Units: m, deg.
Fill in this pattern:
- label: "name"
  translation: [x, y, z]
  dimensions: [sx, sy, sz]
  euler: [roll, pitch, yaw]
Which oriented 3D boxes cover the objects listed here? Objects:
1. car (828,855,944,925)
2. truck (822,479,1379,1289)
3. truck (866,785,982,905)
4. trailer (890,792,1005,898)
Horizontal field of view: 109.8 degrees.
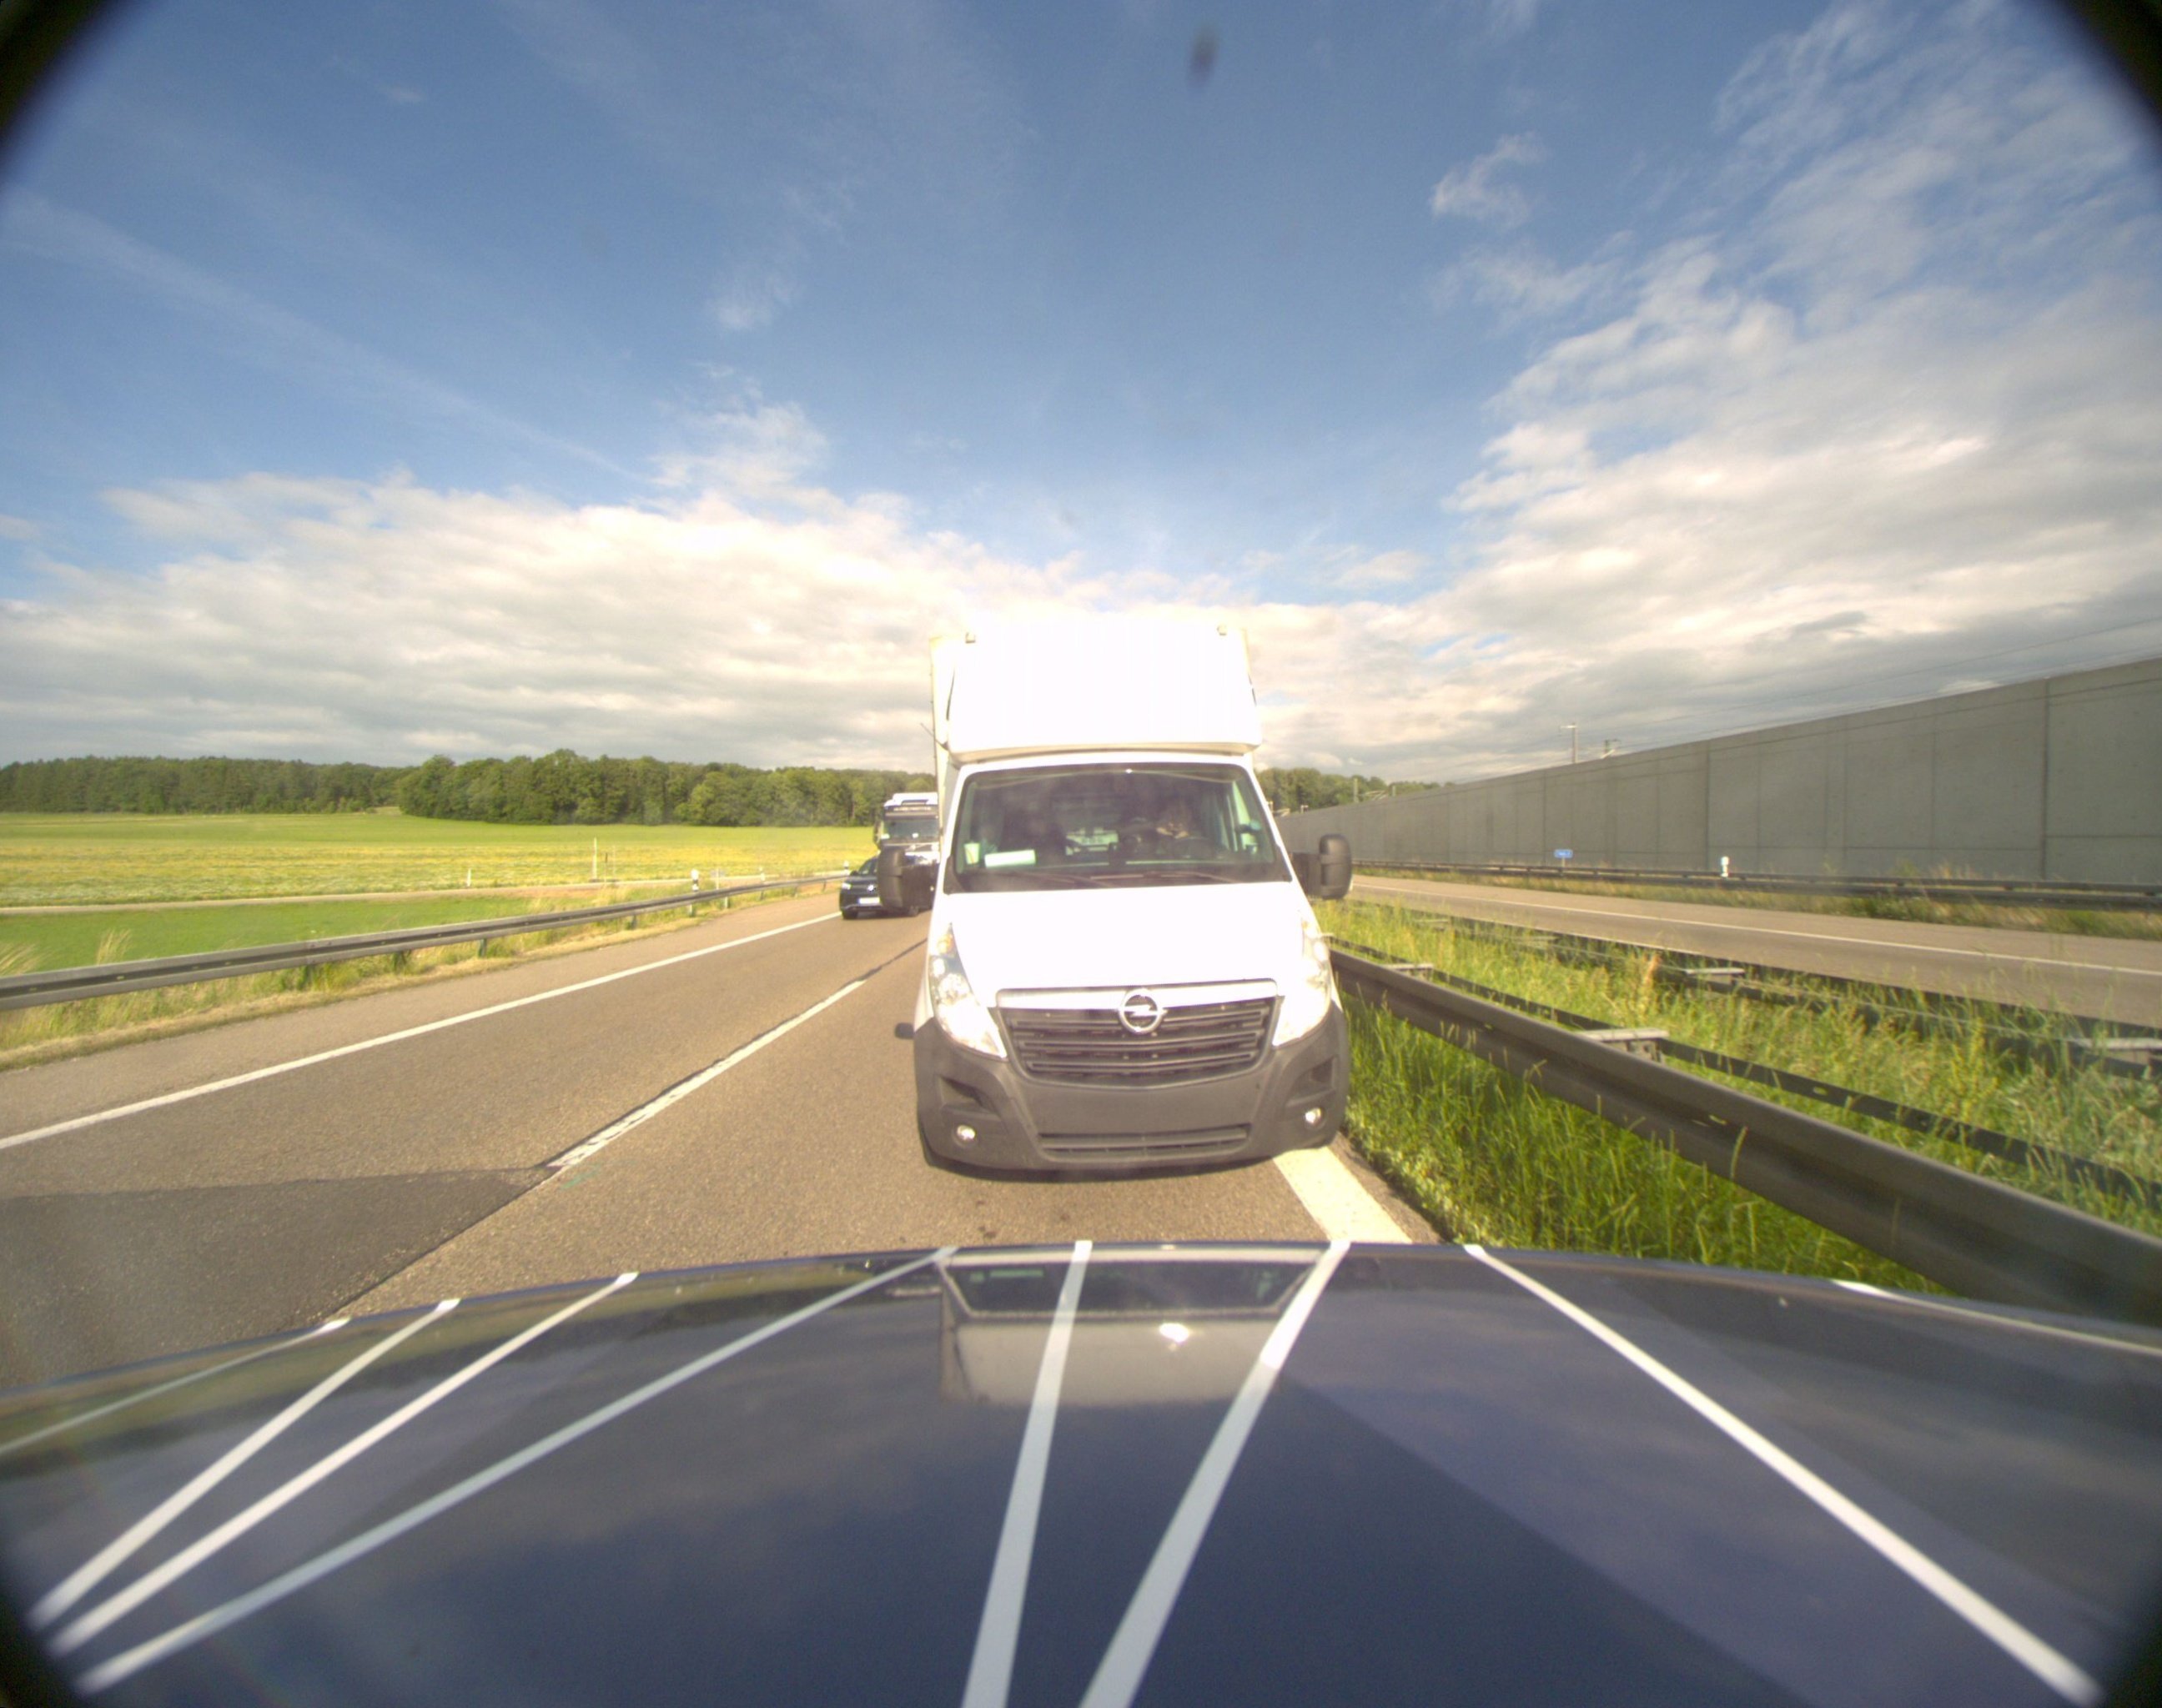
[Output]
- label: "car"
  translation: [-5.139, 0.886, 20.633]
  dimensions: [1.998, 1.587, 4.118]
  euler: [-2, 1, 1]
- label: "truck"
  translation: [0.136, 0.089, 6.862]
  dimensions: [2.060, 3.088, 7.803]
  euler: [-2, 1, 1]
- label: "truck"
  translation: [-5.788, -0.342, 29.201]
  dimensions: [2.842, 3.967, 6.500]
  euler: [-2, 1, 1]
- label: "trailer"
  translation: [-5.710, -0.413, 35.055]
  dimensions: [2.826, 3.959, 12.127]
  euler: [-2, 1, 1]
